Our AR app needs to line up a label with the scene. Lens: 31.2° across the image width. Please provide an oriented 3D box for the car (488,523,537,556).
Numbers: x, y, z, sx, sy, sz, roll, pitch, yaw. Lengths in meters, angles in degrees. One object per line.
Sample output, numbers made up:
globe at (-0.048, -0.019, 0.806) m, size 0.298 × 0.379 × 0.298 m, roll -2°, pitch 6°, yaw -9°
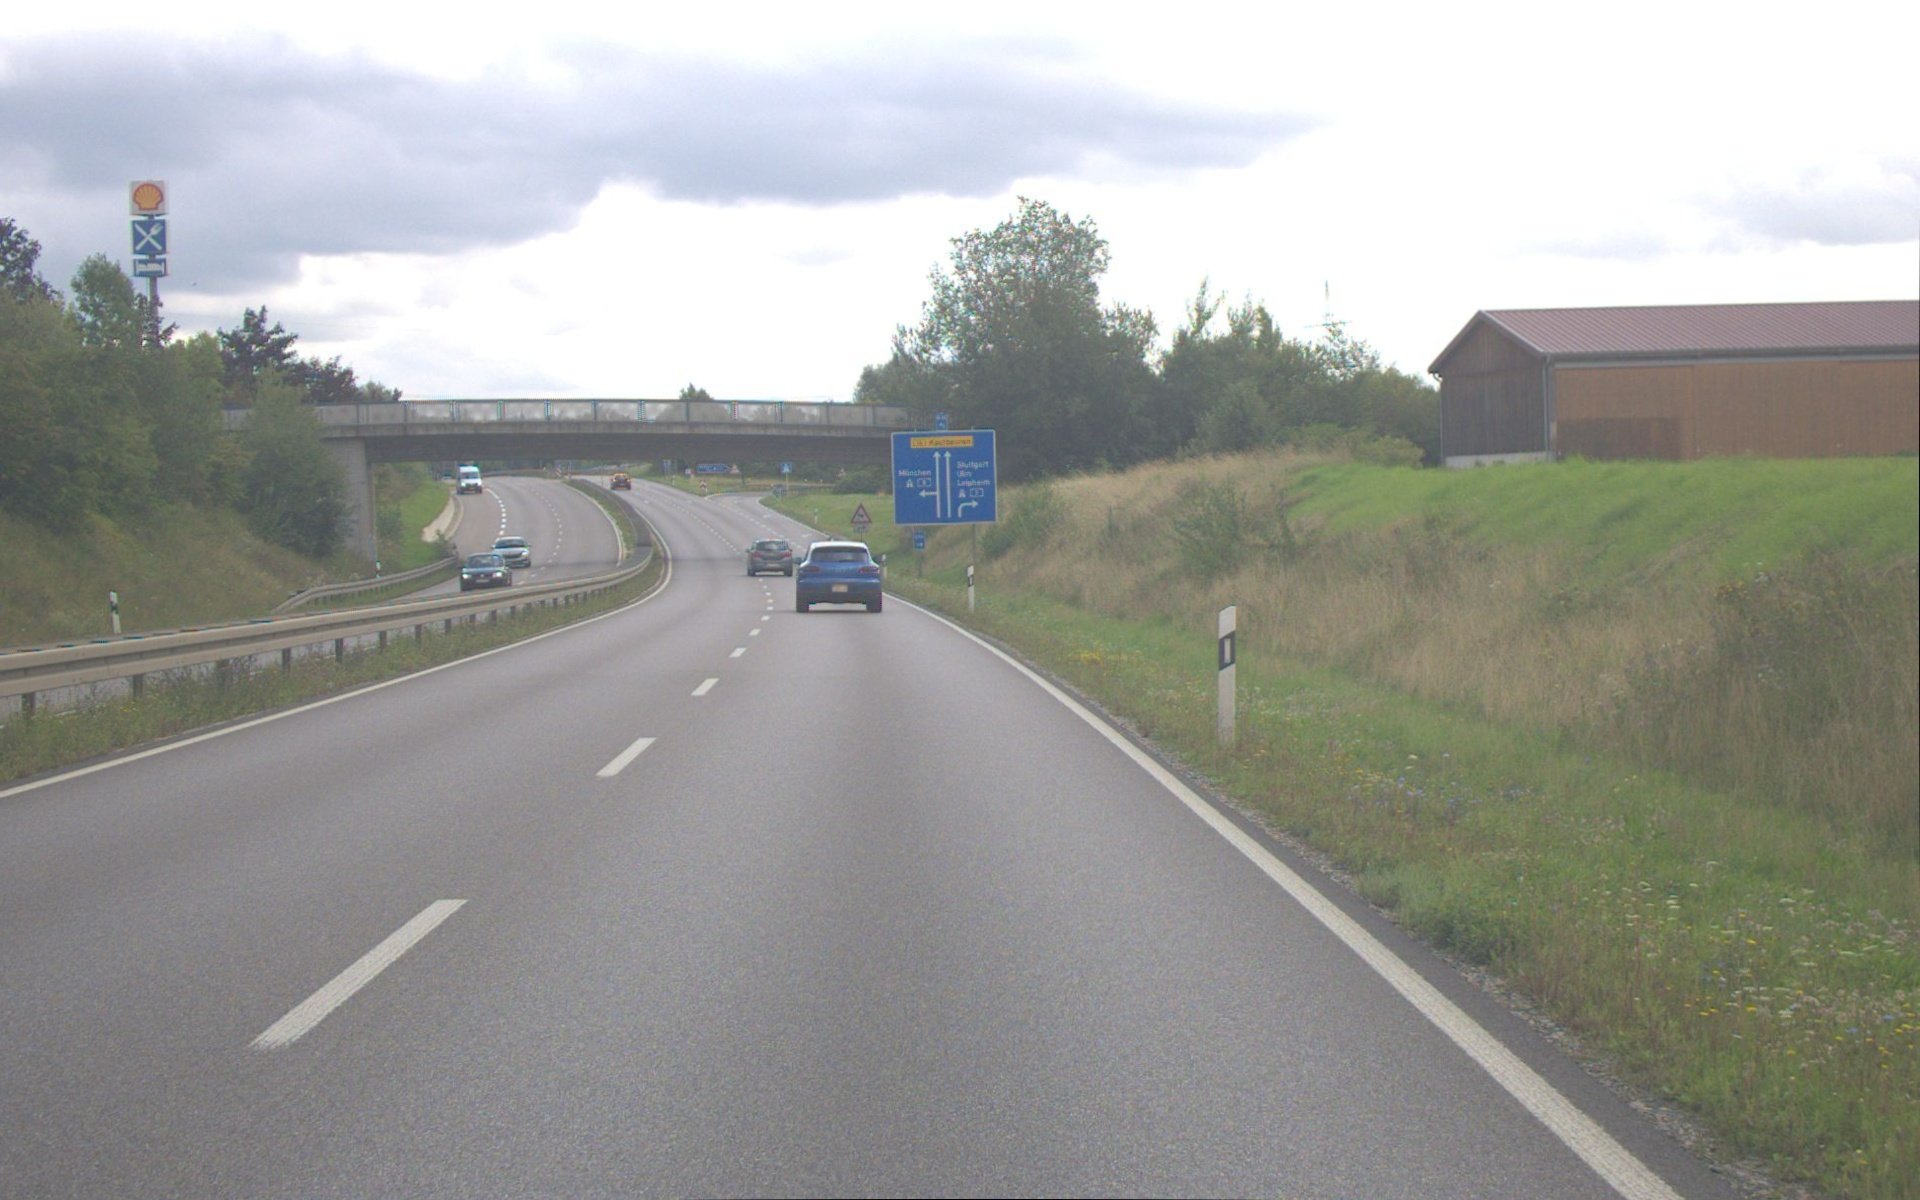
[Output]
car at (-21.760, -2.946, 167.355) m, size 1.993 × 1.448 × 4.001 m, roll -1°, pitch 2°, yaw -3°

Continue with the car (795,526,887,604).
car at (-2.698, -0.828, 78.799) m, size 2.033 × 1.654 × 4.544 m, roll 0°, pitch 2°, yaw -1°

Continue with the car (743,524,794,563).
car at (-7.720, -2.285, 138.495) m, size 1.917 × 1.448 × 4.365 m, roll -1°, pitch 2°, yaw -4°

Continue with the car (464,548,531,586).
car at (-17.311, -1.244, 128.730) m, size 1.993 × 1.300 × 4.822 m, roll -1°, pitch 1°, yaw -2°
